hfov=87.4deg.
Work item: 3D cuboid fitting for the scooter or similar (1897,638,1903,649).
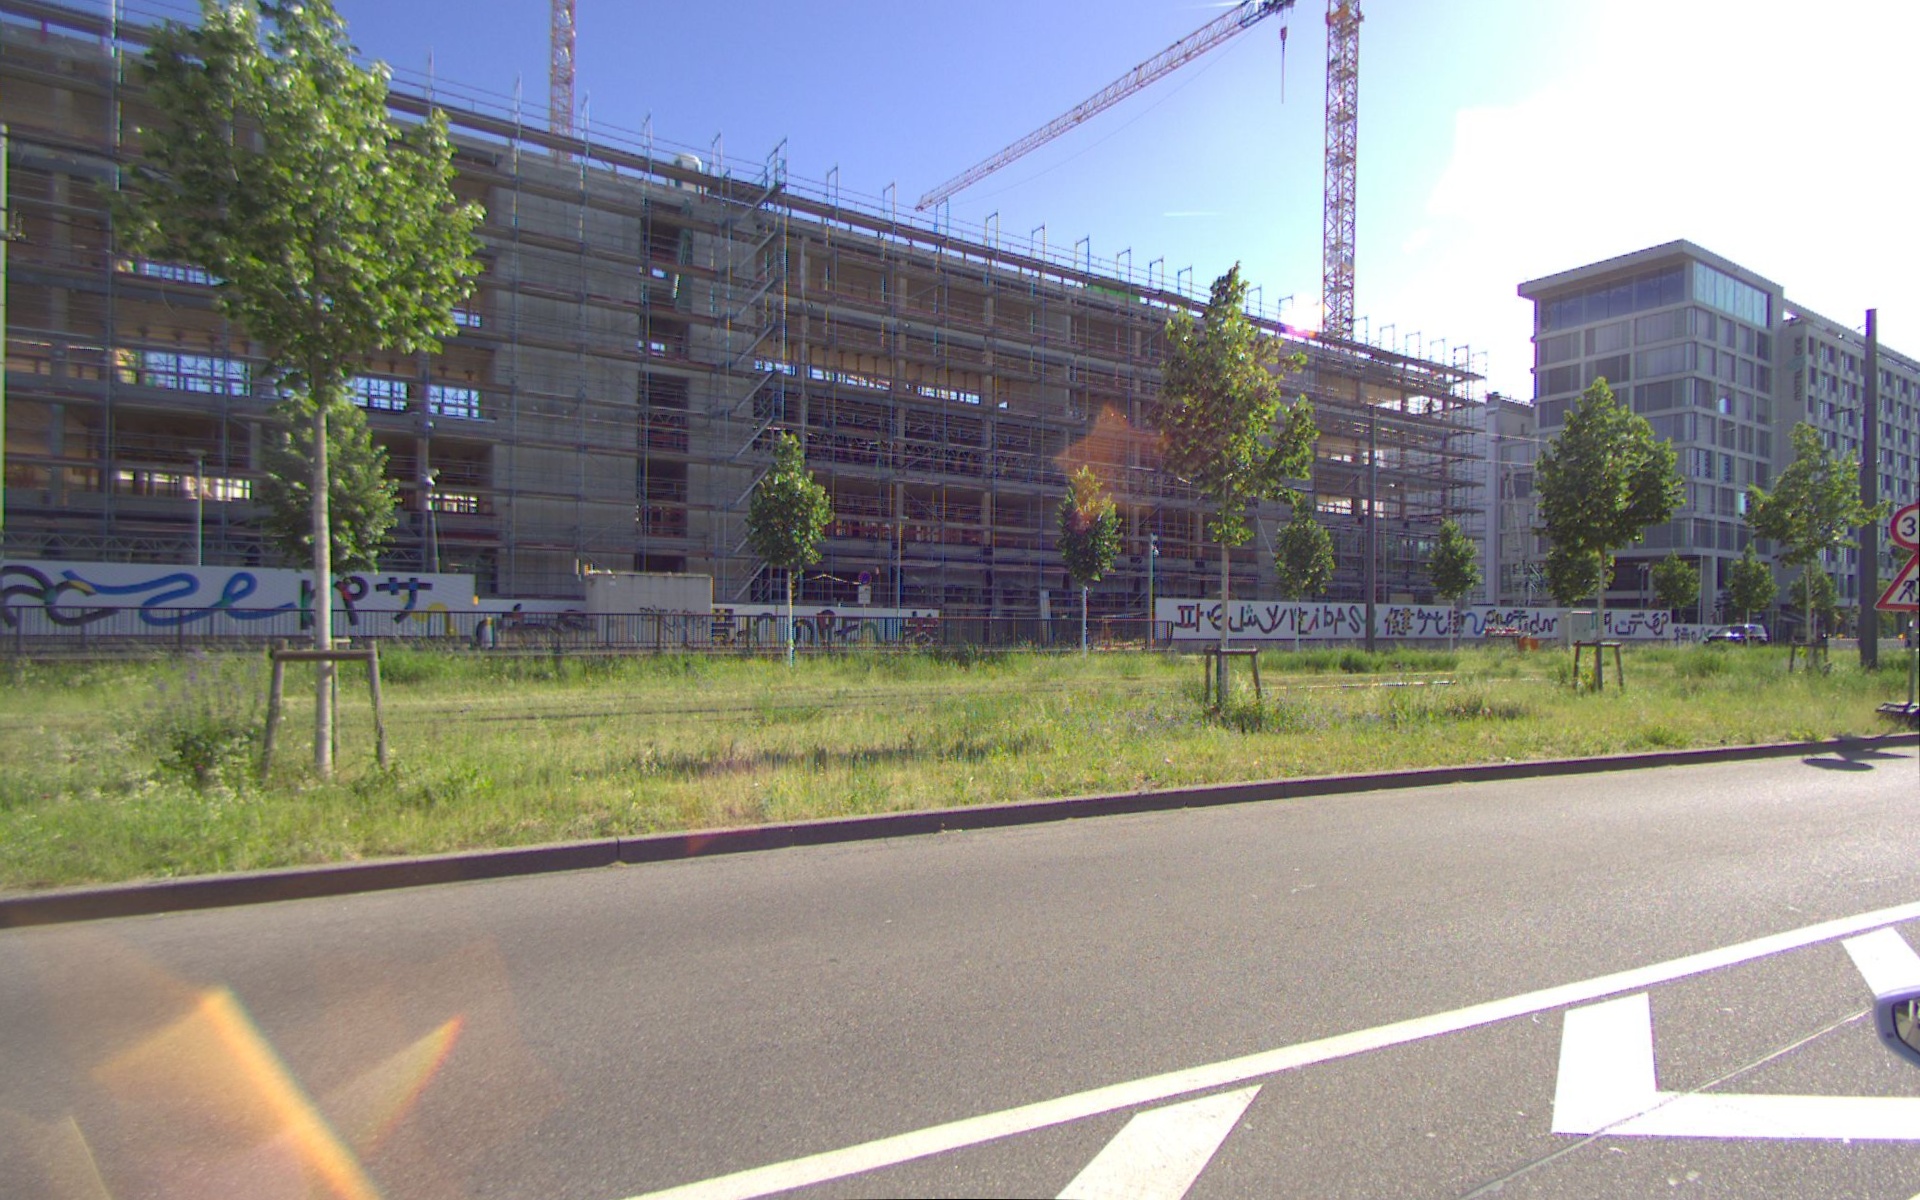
[{"bbox_3d":[82.230,3.769,87.858,0.759,0.960,0.227,1,-2,-33],"label":"scooter or similar"}]

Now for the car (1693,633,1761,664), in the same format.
[{"bbox_3d":[50.571,3.187,66.263,4.272,1.943,1.902,1,-1,-27],"label":"car"}]
